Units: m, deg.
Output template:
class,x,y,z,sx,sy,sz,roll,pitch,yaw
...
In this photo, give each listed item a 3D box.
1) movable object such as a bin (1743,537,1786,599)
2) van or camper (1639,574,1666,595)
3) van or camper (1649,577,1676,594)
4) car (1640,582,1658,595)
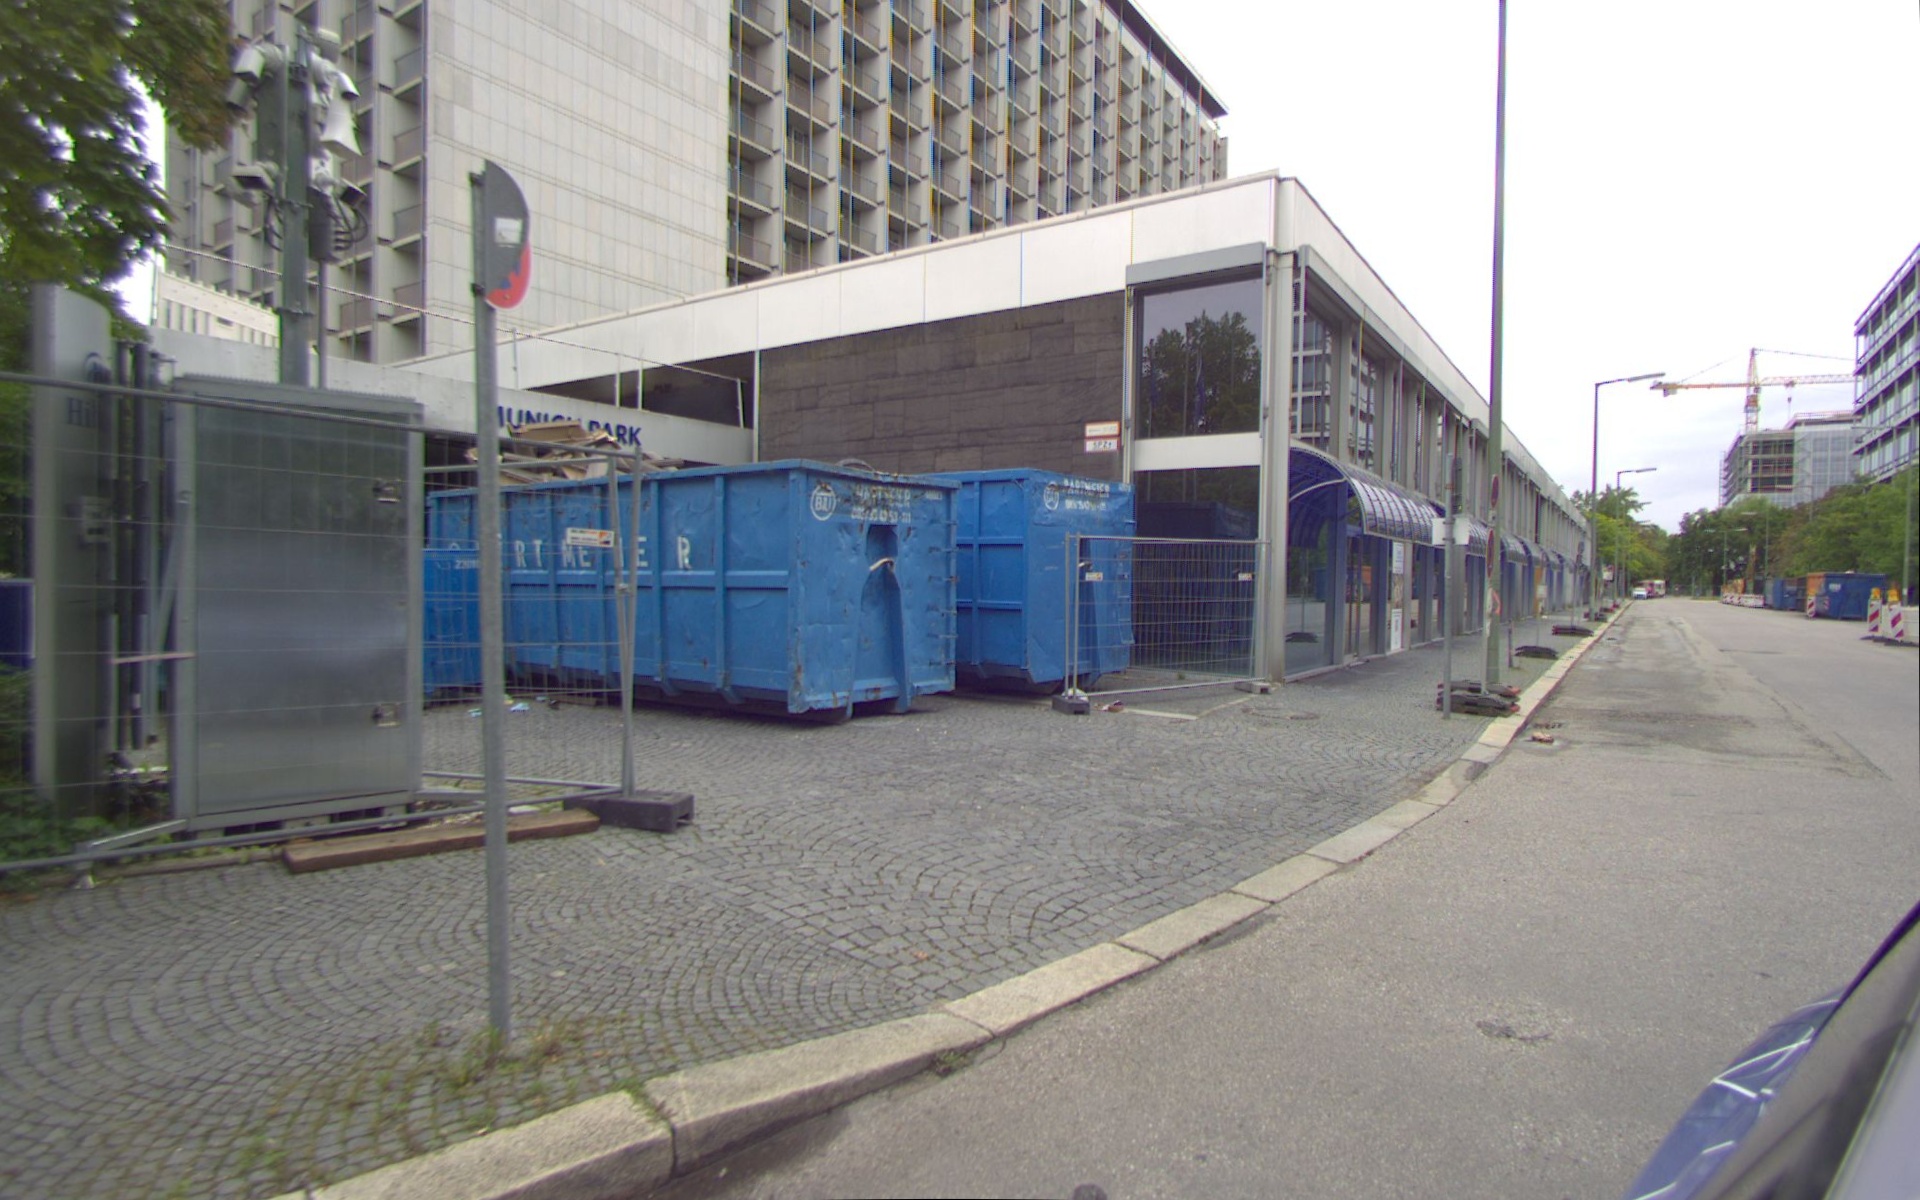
class,x,y,z,sx,sy,sz,roll,pitch,yaw
movable object such as a bin,86.278,-3.433,108.650,3.227,6.401,8.225,2,1,37
van or camper,96.284,-2.171,140.708,2.655,2.801,6.821,2,2,38
van or camper,105.232,-2.223,151.663,2.658,2.481,6.350,2,2,41
car,92.457,-1.513,135.827,1.903,1.657,3.948,2,2,36
